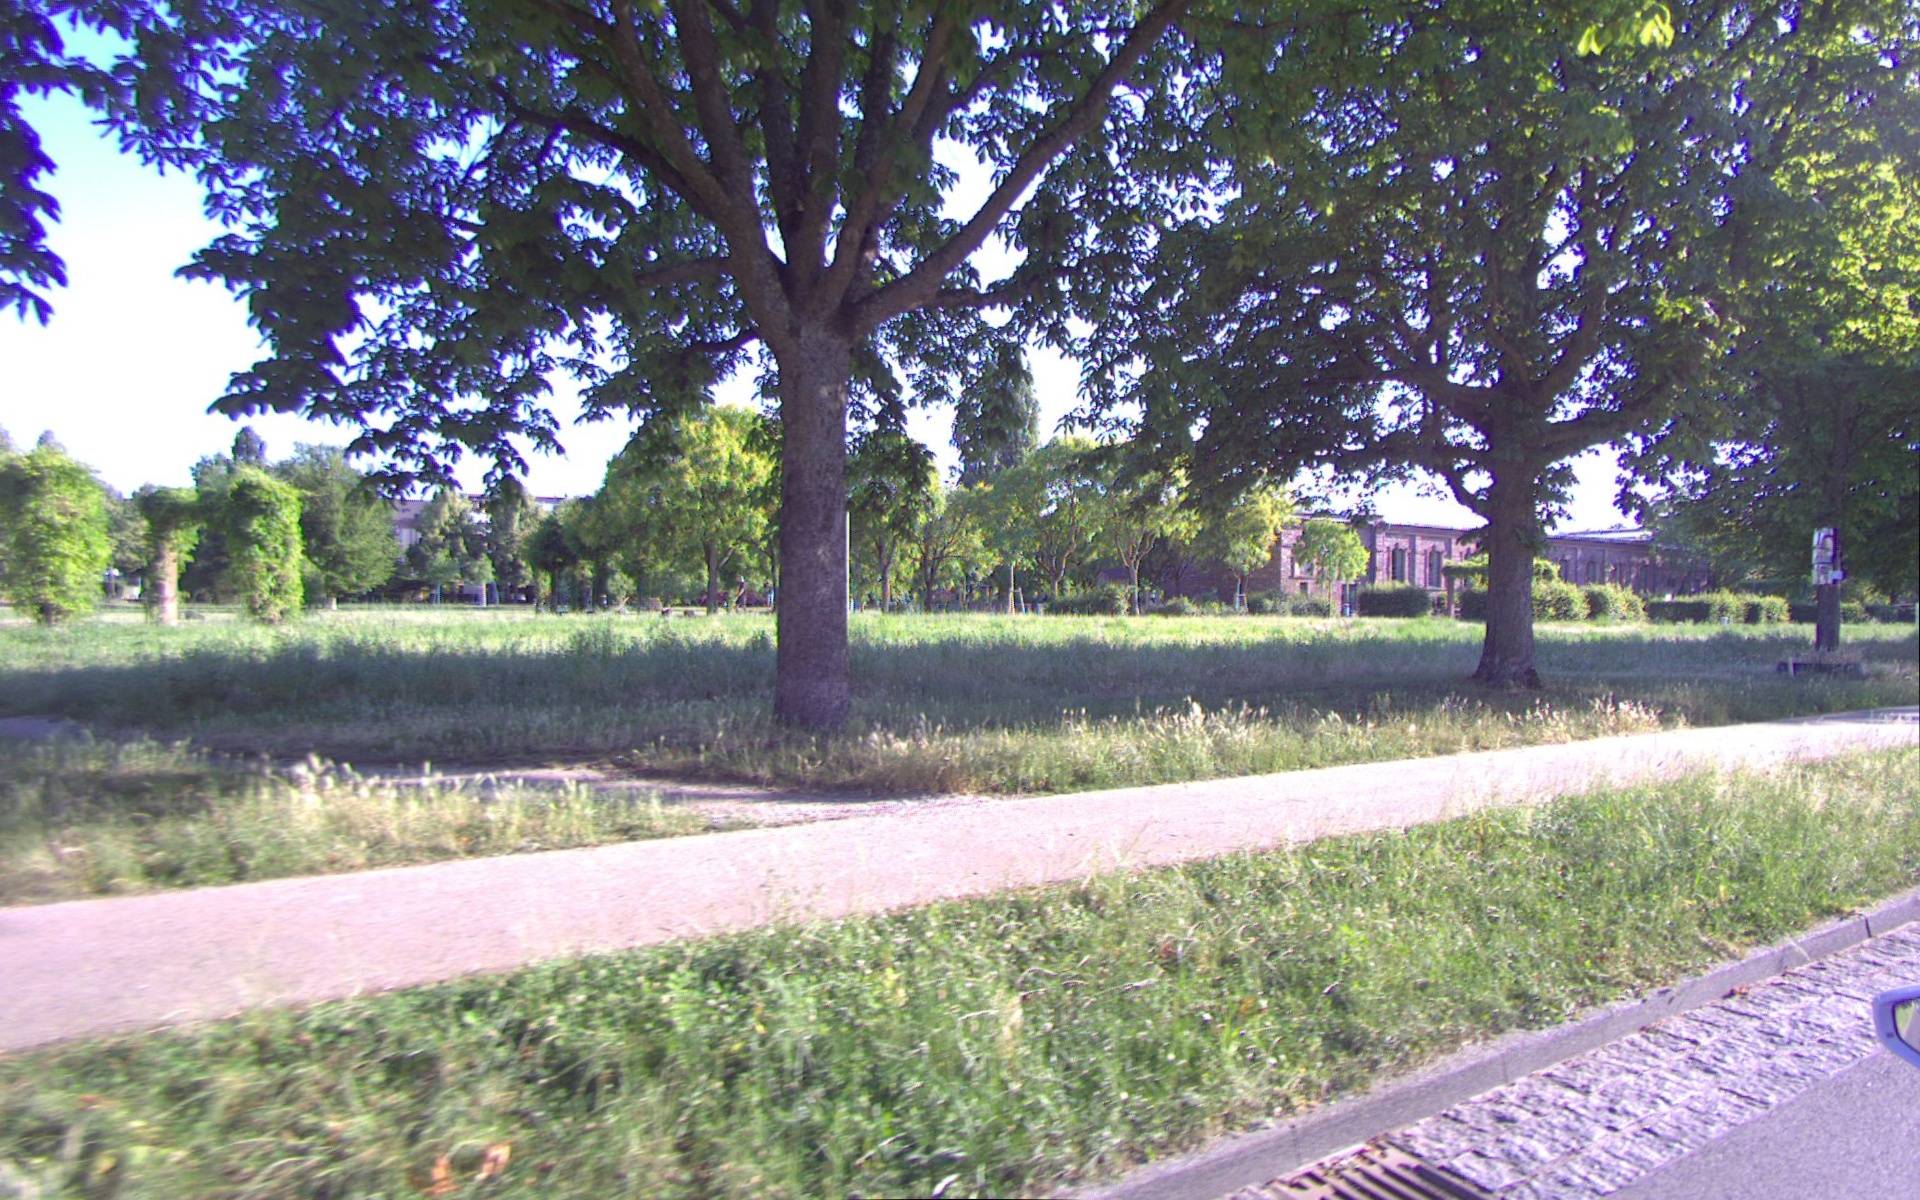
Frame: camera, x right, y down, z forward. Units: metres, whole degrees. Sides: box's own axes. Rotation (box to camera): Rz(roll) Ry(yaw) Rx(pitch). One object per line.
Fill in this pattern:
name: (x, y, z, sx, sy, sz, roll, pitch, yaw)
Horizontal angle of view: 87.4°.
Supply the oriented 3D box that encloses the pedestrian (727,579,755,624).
pedestrian: (-8.560, 0.063, 39.311, 0.764, 1.747, 0.714, 2, 1, 32)
